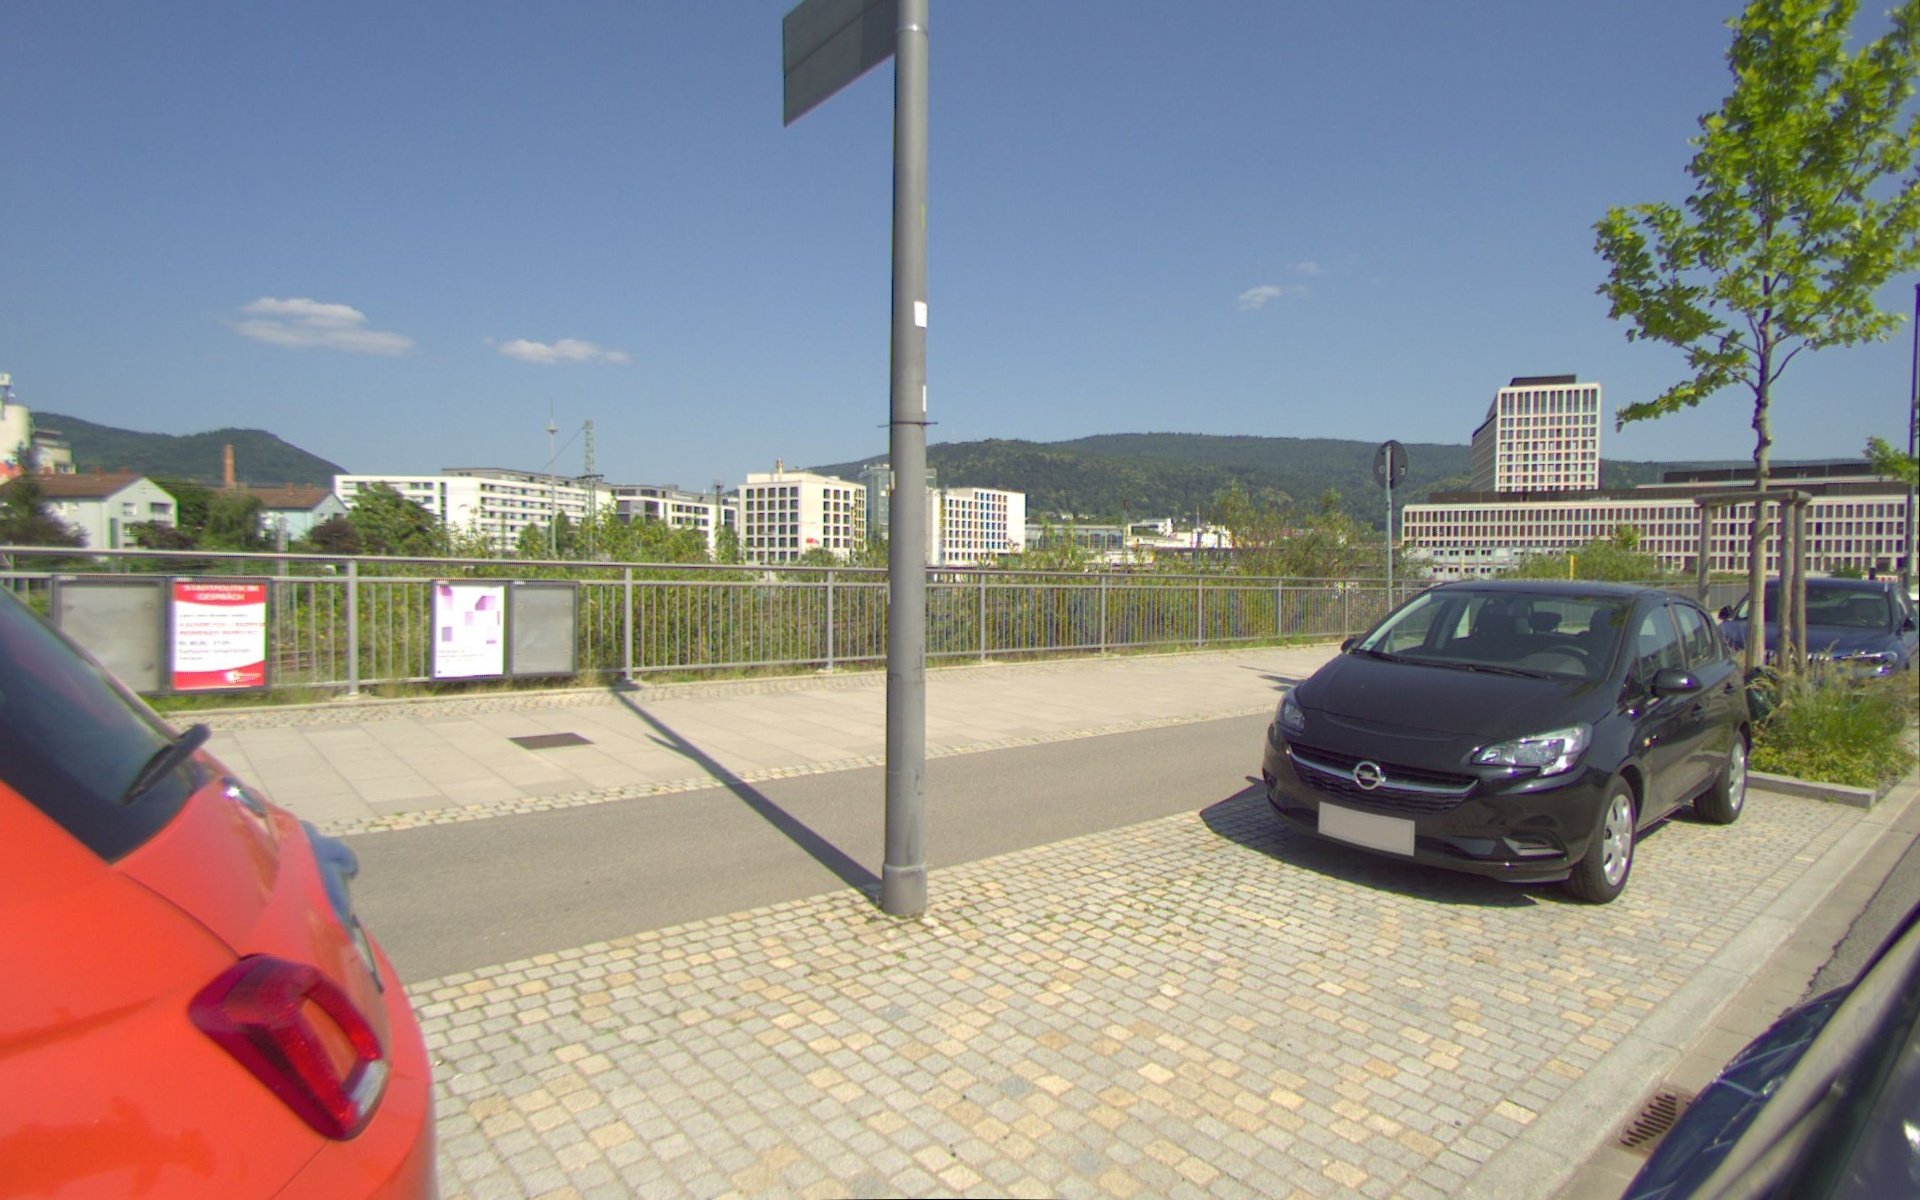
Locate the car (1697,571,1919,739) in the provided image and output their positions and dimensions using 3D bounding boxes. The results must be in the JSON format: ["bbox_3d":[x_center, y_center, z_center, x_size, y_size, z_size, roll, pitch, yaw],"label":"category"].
[{"bbox_3d":[10.285,0.501,11.823,4.163,1.627,1.768,-1,1,-40],"label":"car"}]

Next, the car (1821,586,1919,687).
[{"bbox_3d":[15.500,0.519,16.459,3.929,1.473,1.663,-1,1,-40],"label":"car"}]

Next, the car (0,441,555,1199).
[{"bbox_3d":[-2.286,0.565,0.833,3.291,1.514,1.615,0,3,-39],"label":"car"}]

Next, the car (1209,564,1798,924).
[{"bbox_3d":[3.368,0.532,5.956,3.928,1.444,1.664,-1,2,-39],"label":"car"}]
